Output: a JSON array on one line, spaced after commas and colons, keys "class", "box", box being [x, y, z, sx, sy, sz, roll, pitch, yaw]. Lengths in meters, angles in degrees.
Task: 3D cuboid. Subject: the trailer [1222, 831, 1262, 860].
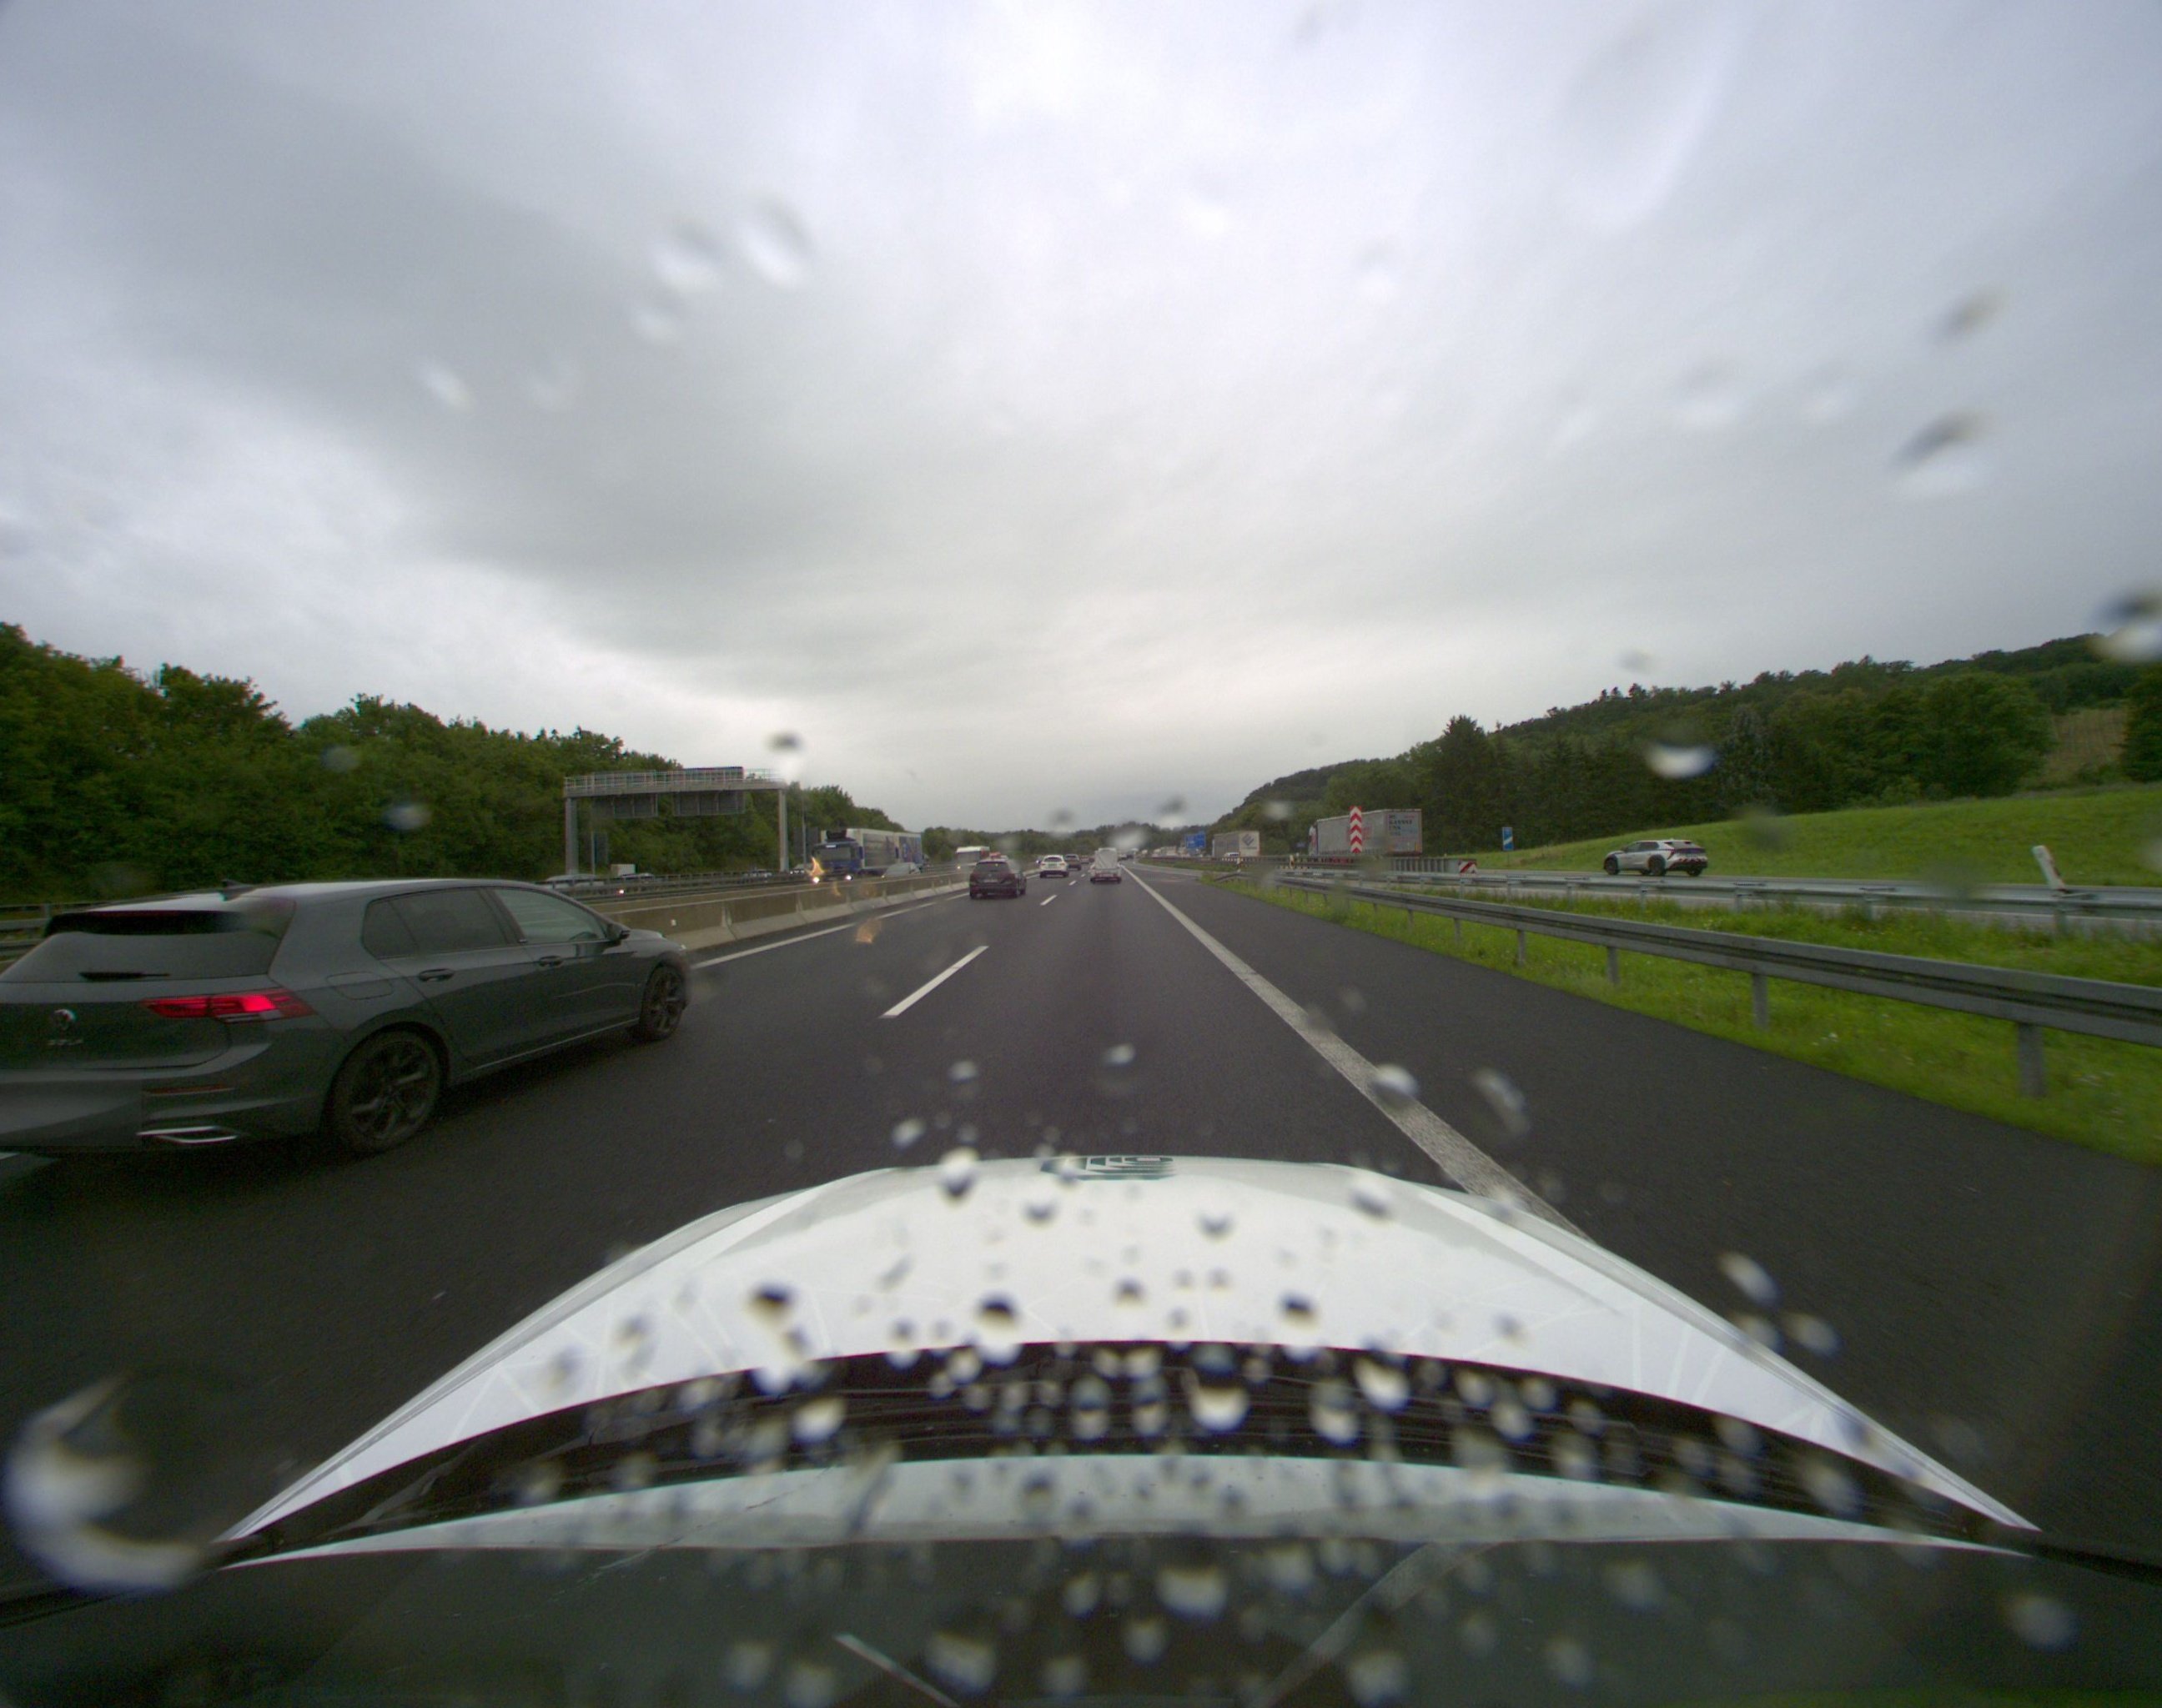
[{"class": "trailer", "box": [19.892, -0.998, 101.094, 3.071, 3.527, 8.075, 0, 0, -3]}]

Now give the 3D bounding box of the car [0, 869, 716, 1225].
[{"class": "car", "box": [-4.496, 0.856, 5.617, 1.823, 1.425, 4.370, -1, 0, 2]}]

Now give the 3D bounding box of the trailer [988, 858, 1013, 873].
[{"class": "trailer", "box": [-12.185, 1.734, 124.074, 2.527, 2.013, 10.249, -2, 0, 2]}]

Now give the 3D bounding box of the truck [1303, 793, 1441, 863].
[{"class": "truck", "box": [21.435, -1.637, 62.002, 3.811, 4.540, 16.869, -1, 0, -2]}]

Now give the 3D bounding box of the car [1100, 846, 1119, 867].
[{"class": "car", "box": [3.820, 0.343, 109.548, 2.323, 2.725, 6.540, -1, 0, 1]}]

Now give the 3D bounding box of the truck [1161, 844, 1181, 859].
[{"class": "truck", "box": [22.086, -0.494, 201.206, 3.815, 3.659, 8.266, 0, 0, -2]}]

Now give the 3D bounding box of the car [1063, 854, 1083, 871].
[{"class": "car", "box": [-0.812, 0.893, 88.516, 1.968, 1.703, 4.804, -1, 0, 2]}]

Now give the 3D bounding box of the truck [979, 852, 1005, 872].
[{"class": "truck", "box": [-12.531, 1.123, 115.388, 2.416, 2.594, 7.098, -1, 0, 3]}]

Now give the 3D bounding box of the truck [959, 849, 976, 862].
[{"class": "truck", "box": [-27.438, 0.385, 197.406, 2.729, 2.872, 8.544, -2, 0, 2]}]

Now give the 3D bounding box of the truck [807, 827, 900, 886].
[{"class": "truck", "box": [-14.899, 0.168, 54.432, 2.797, 3.525, 10.647, 0, 0, 2]}]

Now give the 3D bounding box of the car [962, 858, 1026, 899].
[{"class": "car", "box": [-3.248, 0.880, 31.318, 1.780, 1.459, 4.805, -1, 0, 2]}]

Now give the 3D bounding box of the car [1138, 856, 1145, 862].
[{"class": "car", "box": [14.888, 1.244, 201.106, 1.639, 1.574, 4.002, 0, 0, 2]}]

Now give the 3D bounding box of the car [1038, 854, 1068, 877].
[{"class": "car", "box": [-2.107, 0.823, 60.126, 2.045, 1.670, 4.534, -1, 0, -4]}]

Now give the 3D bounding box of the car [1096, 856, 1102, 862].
[{"class": "car", "box": [4.770, 1.368, 217.659, 1.639, 1.574, 4.002, 0, 0, 2]}]

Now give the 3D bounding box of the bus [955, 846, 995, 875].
[{"class": "bus", "box": [-10.054, 0.600, 78.074, 2.531, 2.586, 8.274, 0, 0, 2]}]

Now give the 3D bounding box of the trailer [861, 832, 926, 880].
[{"class": "trailer", "box": [-14.498, 0.182, 63.735, 2.931, 3.516, 8.056, 0, 0, 2]}]

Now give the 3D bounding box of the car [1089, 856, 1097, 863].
[{"class": "car", "box": [2.815, 1.197, 184.883, 1.639, 1.574, 4.002, 0, 0, 2]}]

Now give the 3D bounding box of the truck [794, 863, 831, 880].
[{"class": "truck", "box": [-24.803, 1.582, 75.463, 1.988, 1.495, 4.469, -2, 0, -1]}]

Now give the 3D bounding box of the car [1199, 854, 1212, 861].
[{"class": "car", "box": [20.850, 0.593, 136.772, 1.691, 1.288, 3.535, 0, -1, 1]}]

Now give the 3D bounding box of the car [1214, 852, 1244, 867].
[{"class": "car", "box": [16.406, 0.589, 90.555, 1.990, 1.616, 5.071, -2, 0, -4]}]

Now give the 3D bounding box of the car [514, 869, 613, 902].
[{"class": "car", "box": [-27.003, 1.603, 42.699, 1.985, 1.537, 4.692, -2, 0, 3]}]

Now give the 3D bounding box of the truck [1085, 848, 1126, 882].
[{"class": "truck", "box": [1.445, 0.637, 47.435, 2.233, 1.839, 6.587, 0, 0, 2]}]

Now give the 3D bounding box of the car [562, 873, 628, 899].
[{"class": "car", "box": [-29.898, 1.939, 50.262, 1.528, 1.369, 4.115, -2, 0, 1]}]

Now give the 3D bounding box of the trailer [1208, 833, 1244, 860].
[{"class": "trailer", "box": [19.408, -0.952, 109.397, 2.931, 3.527, 8.409, 0, 0, -3]}]

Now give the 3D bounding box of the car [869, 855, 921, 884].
[{"class": "car", "box": [-10.925, 0.871, 48.057, 1.986, 1.618, 4.002, 0, 0, 2]}]

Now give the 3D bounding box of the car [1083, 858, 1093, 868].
[{"class": "car", "box": [1.312, 1.597, 146.197, 1.732, 1.794, 4.002, -1, 0, 2]}]

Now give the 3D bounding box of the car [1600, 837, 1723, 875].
[{"class": "car", "box": [25.610, 0.090, 36.190, 1.814, 1.504, 5.029, -2, 0, -1]}]
